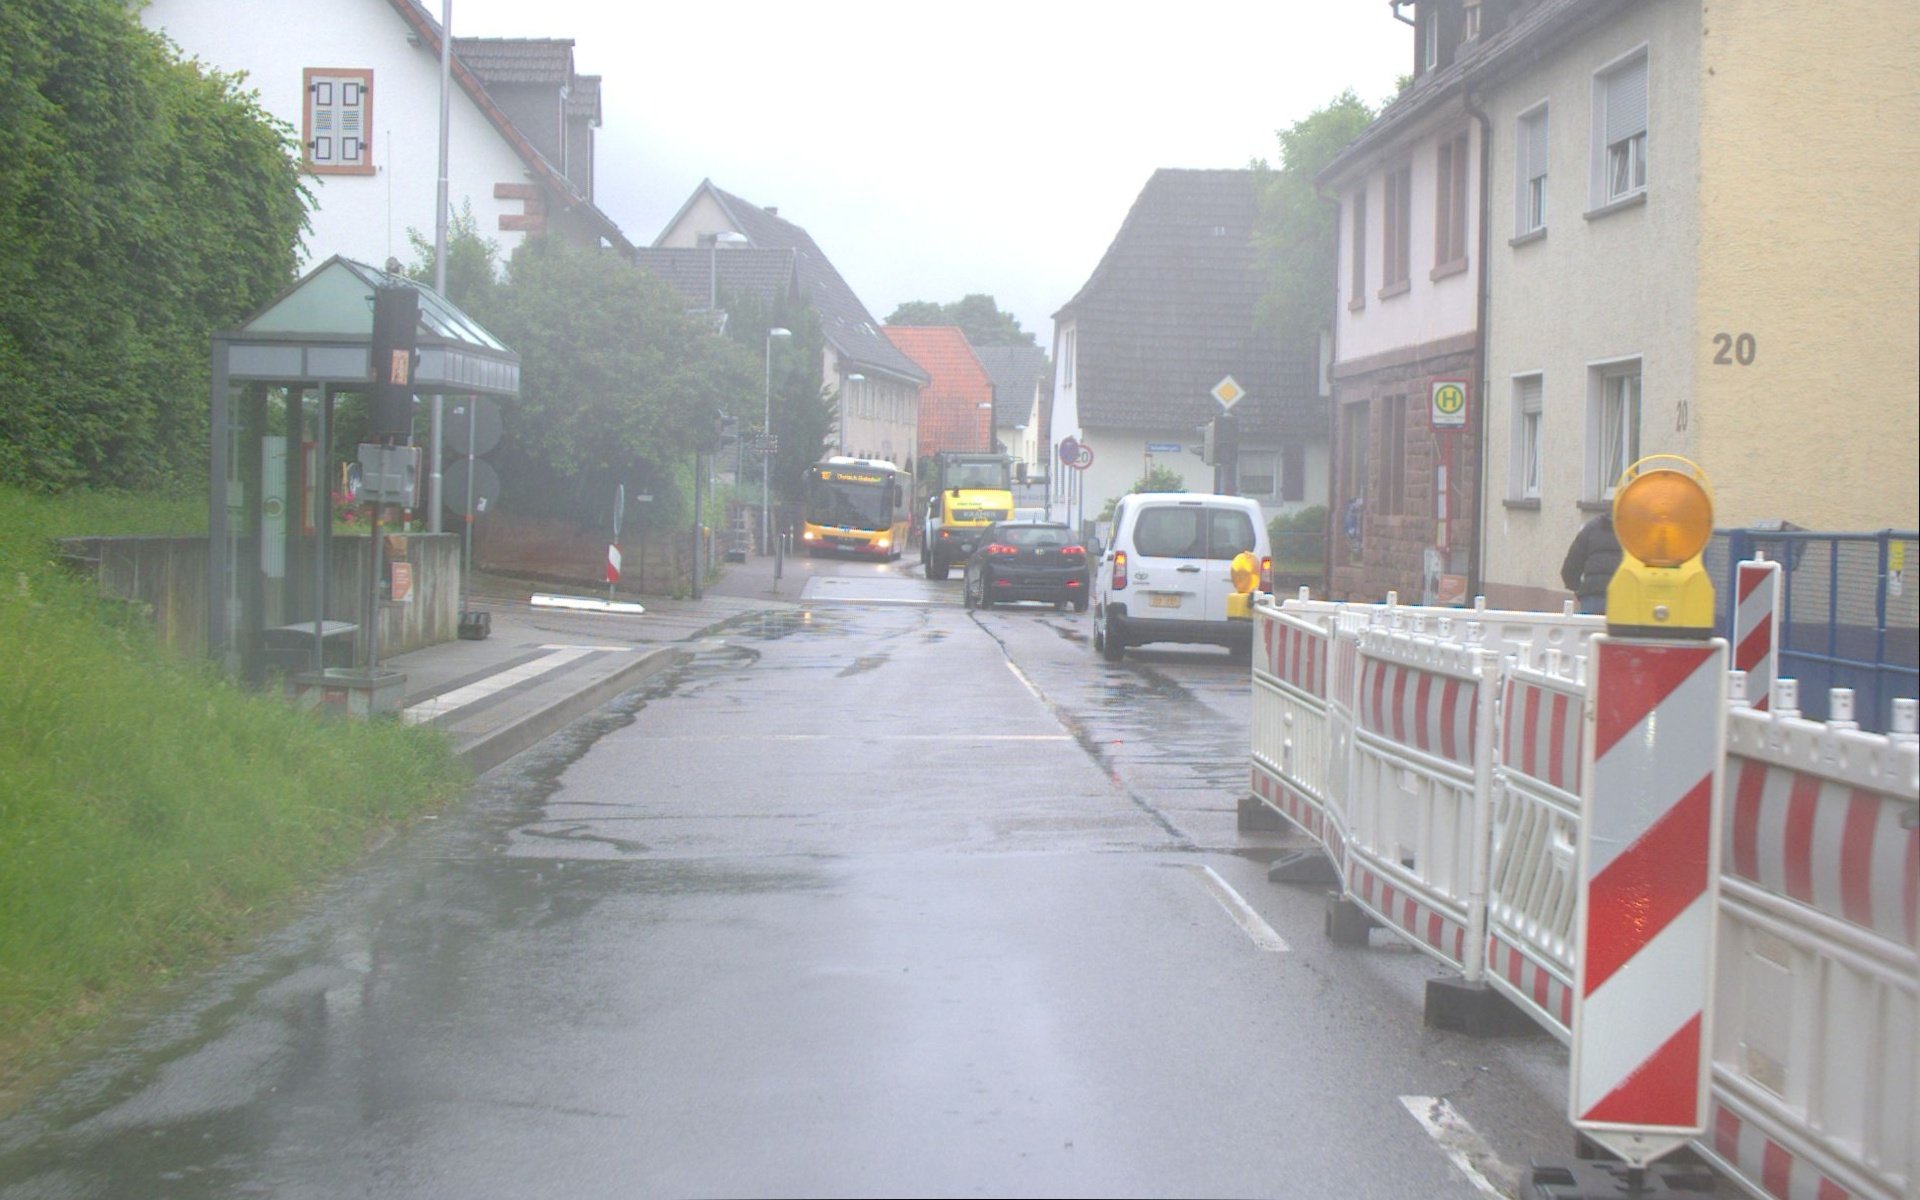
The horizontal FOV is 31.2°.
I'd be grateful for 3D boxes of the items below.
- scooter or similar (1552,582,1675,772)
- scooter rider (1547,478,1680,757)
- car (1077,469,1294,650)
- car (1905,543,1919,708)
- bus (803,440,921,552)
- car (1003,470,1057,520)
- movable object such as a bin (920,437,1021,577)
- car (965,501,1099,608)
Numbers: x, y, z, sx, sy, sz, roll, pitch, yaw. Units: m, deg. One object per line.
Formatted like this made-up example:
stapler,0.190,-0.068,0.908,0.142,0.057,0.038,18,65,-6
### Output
scooter or similar,4.102,0.465,21.651,0.620,1.123,1.401,2,1,6
scooter rider,4.140,0.104,21.794,0.731,1.727,0.518,2,1,6
car,2.405,-0.477,37.554,1.894,1.787,3.814,3,2,-2
car,9.673,0.377,26.502,4.144,1.297,1.912,4,1,-1
bus,-2.868,-3.242,104.035,2.650,2.989,12.193,2,3,2
car,2.903,-4.289,140.942,1.994,2.007,4.000,0,1,4
movable object such as a bin,0.178,-1.875,68.904,1.727,2.644,3.975,3,2,-3
car,1.141,-0.773,55.980,1.809,1.591,3.756,3,2,-3
